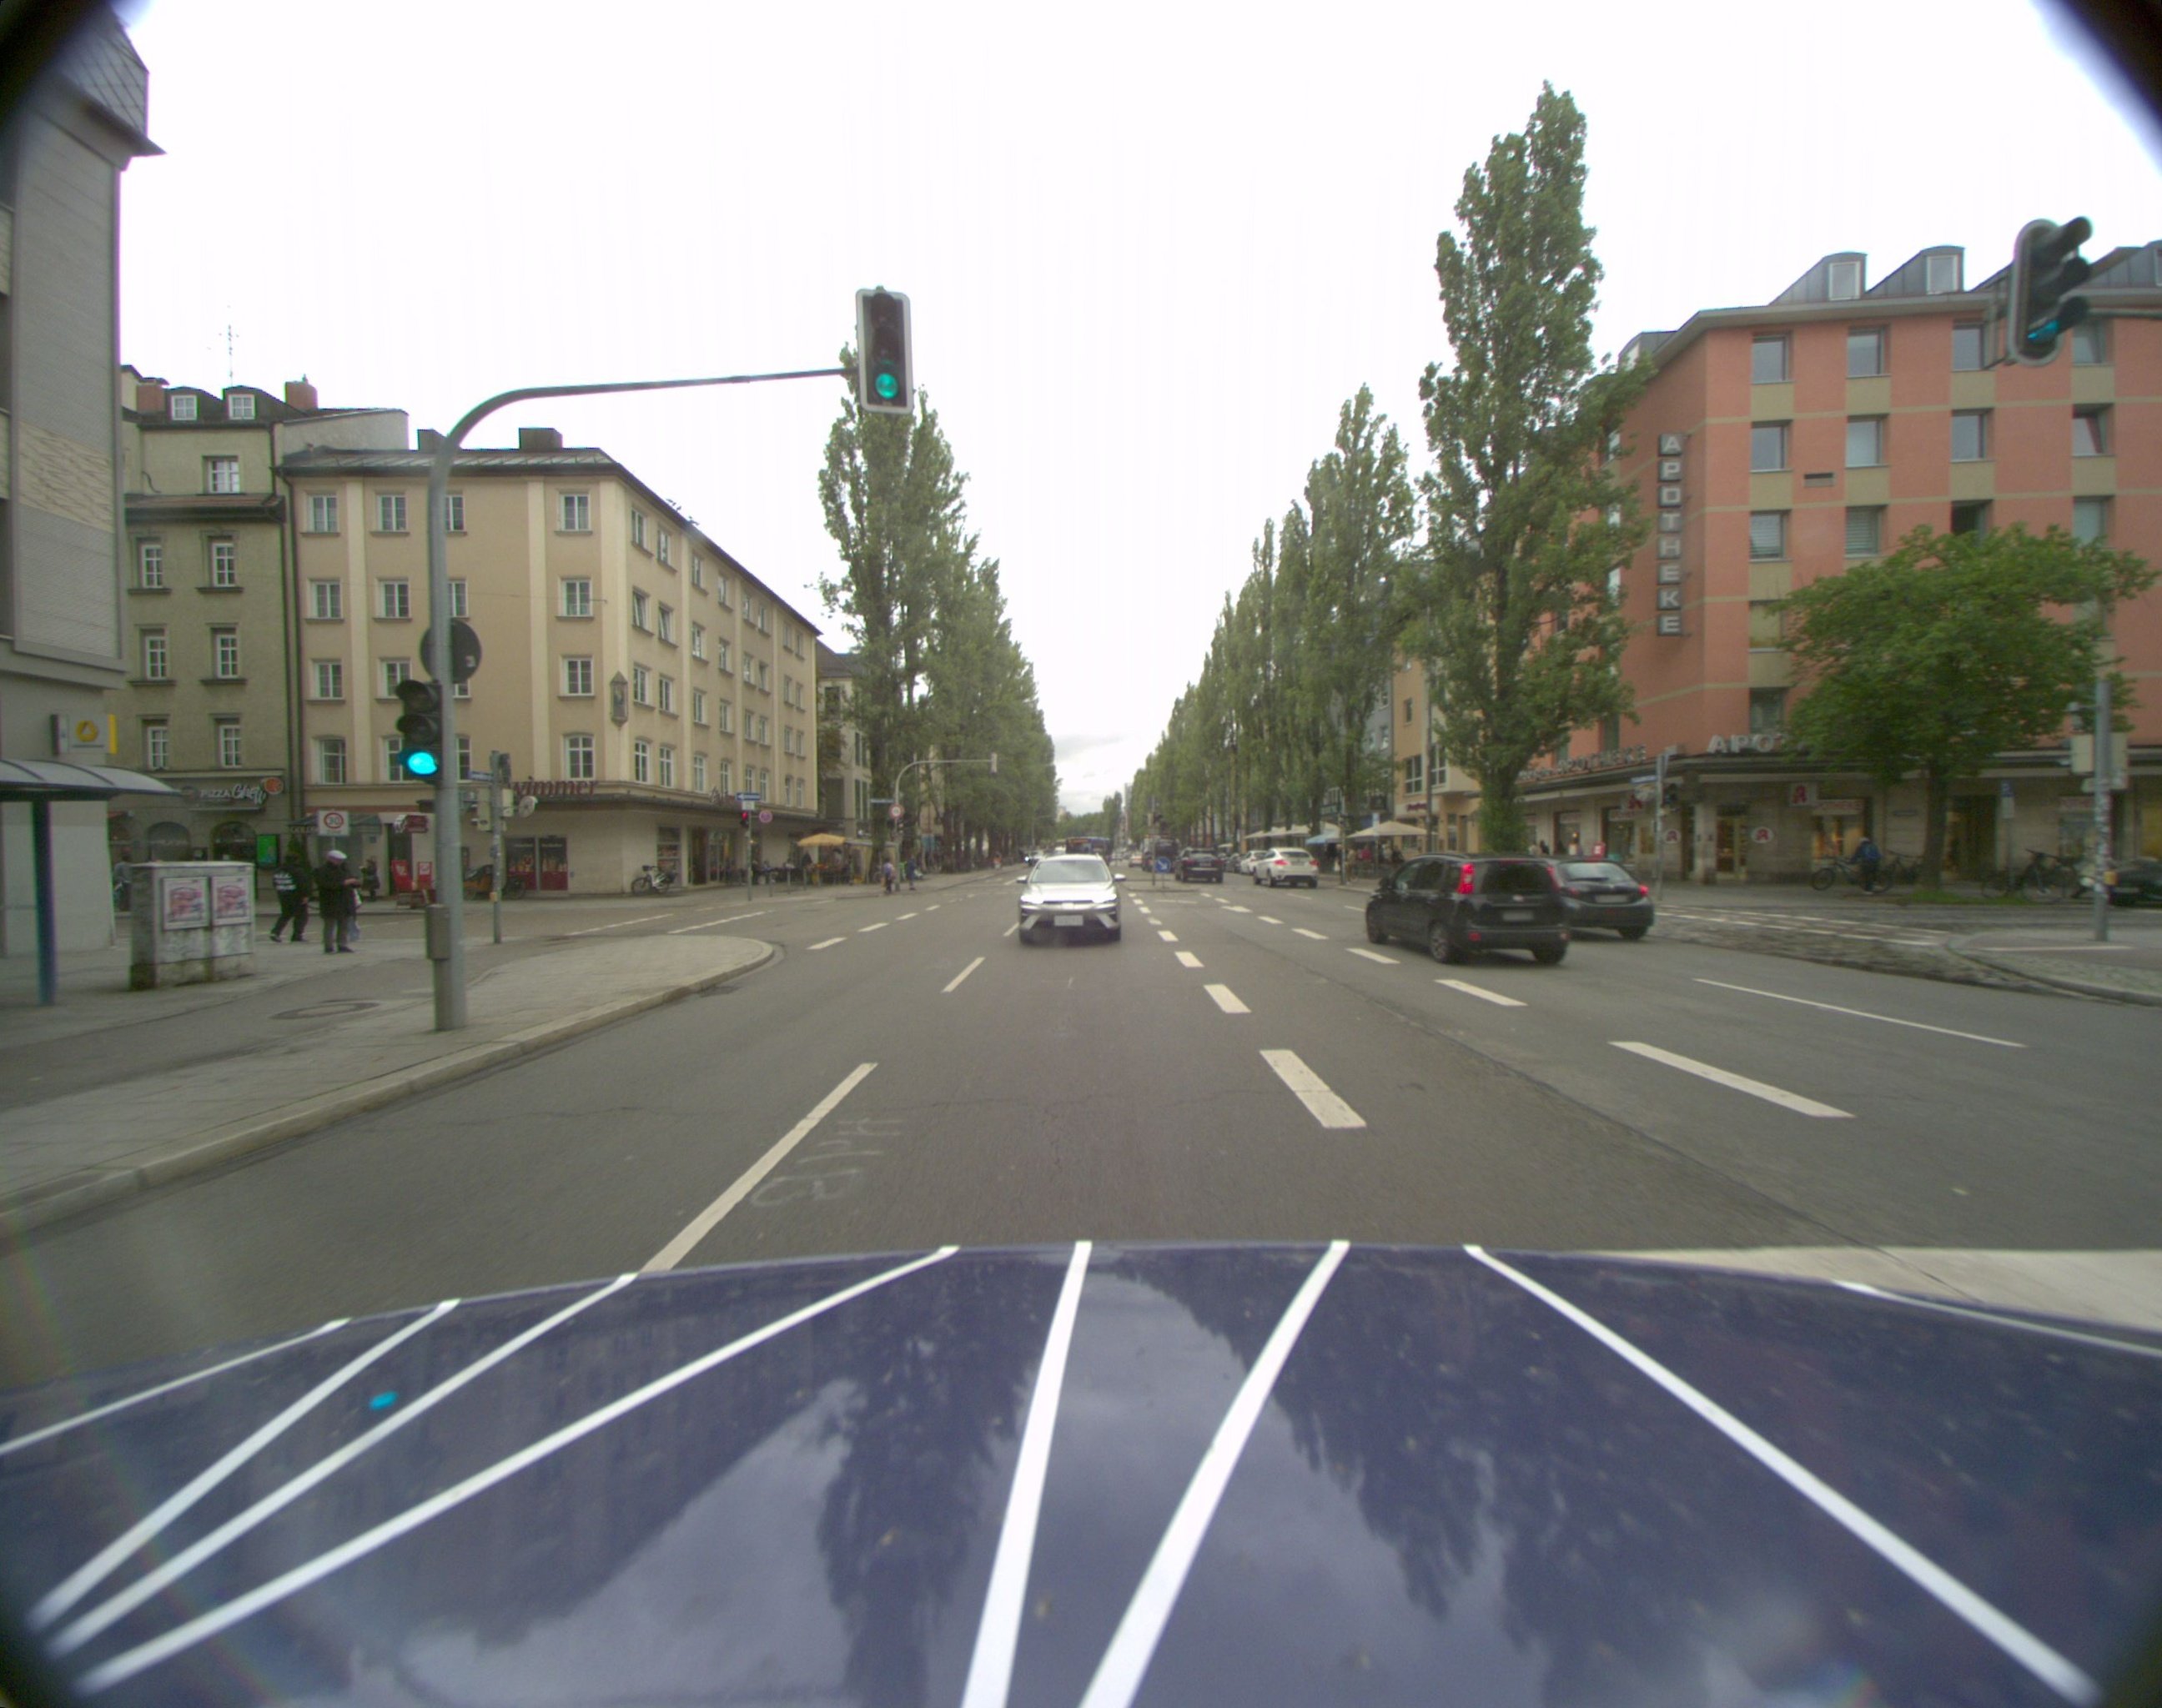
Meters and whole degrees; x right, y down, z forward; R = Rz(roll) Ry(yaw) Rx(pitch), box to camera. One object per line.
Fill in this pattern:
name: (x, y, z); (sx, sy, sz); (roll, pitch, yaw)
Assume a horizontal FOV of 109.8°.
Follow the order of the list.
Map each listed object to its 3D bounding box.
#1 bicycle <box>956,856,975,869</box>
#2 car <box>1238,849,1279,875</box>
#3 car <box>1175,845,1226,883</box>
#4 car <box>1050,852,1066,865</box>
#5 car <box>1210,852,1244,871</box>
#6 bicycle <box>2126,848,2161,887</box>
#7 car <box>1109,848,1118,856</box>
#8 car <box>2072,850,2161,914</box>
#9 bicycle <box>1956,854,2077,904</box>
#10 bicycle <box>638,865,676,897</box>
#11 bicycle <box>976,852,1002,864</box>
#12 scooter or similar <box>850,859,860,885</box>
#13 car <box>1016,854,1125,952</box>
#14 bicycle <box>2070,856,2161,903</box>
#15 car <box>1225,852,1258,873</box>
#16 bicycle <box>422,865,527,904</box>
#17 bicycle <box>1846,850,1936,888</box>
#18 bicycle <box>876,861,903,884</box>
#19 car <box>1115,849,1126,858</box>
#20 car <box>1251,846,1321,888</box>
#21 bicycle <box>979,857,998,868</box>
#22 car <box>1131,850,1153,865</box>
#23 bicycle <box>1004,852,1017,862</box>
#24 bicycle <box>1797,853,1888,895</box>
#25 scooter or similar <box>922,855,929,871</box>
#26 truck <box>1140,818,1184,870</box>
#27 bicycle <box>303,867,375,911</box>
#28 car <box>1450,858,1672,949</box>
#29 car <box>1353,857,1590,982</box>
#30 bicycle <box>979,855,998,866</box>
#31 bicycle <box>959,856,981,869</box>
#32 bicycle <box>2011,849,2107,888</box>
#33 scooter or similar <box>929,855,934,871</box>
bicycle: (-10.121, 0.755, 66.465); (1.666, 1.100, 0.396); (-1, 1, -11)
car: (11.524, 0.503, 49.482); (1.707, 1.574, 4.095); (0, 1, 0)
car: (5.802, 0.429, 37.309); (1.889, 1.736, 4.439); (-1, 1, 1)
car: (-2.792, 0.571, 93.480); (1.758, 1.529, 3.916); (-2, 0, 0)
car: (11.485, 0.550, 59.914); (1.707, 1.404, 4.432); (0, 1, -2)
bicycle: (34.259, 0.410, 23.766); (2.061, 1.177, 0.690); (-1, 1, 3)
car: (6.853, -0.428, 162.280); (1.848, 1.626, 4.575); (1, 0, 1)
car: (27.668, 0.621, 18.609); (3.994, 1.412, 1.782); (-2, 1, 9)
bicycle: (23.857, 0.606, 19.439); (0.416, 1.177, 2.062); (-1, 1, -6)
bicycle: (-16.478, 1.030, 29.577); (0.435, 1.164, 1.811); (-2, 1, -1)
bicycle: (-9.482, 0.386, 78.161); (2.577, 1.208, 0.965); (-1, 1, 0)
scooter or similar: (-11.051, 0.860, 37.184); (0.408, 1.236, 1.369); (-1, 1, -16)
car: (-0.180, 0.803, 14.464); (1.758, 1.529, 3.916); (-2, 1, 0)
bicycle: (28.130, 0.680, 20.452); (2.060, 1.177, 0.538); (-2, 1, 8)
car: (11.549, 0.591, 54.835); (1.497, 1.373, 4.186); (0, 1, 0)
bicycle: (-22.190, 1.111, 27.839); (2.978, 1.245, 0.999); (-2, 1, 0)
bicycle: (25.893, 0.464, 24.301); (2.061, 1.177, 0.690); (-1, 1, 3)
bicycle: (-9.759, 0.944, 38.802); (0.405, 1.064, 1.813); (-6, 0, 16)
car: (7.353, -0.113, 140.197); (1.848, 1.626, 4.575); (1, 0, 1)
car: (8.831, 0.509, 33.056); (1.842, 1.706, 4.635); (0, 1, 1)
bicycle: (-8.844, 0.810, 72.626); (1.842, 1.003, 0.393); (0, 1, 9)
car: (6.151, 0.365, 77.391); (1.848, 1.493, 4.985); (0, 0, 0)
bicycle: (-9.403, 0.405, 100.786); (0.829, 1.403, 2.594); (-2, 1, -26)
bicycle: (22.589, 0.592, 22.557); (2.060, 1.177, 0.416); (-2, 1, 8)
scooter or similar: (-12.709, 0.756, 62.184); (0.331, 1.266, 1.036); (-1, 1, 0)
truck: (6.034, -0.787, 57.828); (2.469, 3.649, 8.438); (-1, 1, 0)
bicycle: (-23.782, 1.111, 24.358); (1.832, 1.378, 0.481); (-1, 1, 2)
car: (8.836, 0.824, 14.447); (1.646, 1.431, 3.996); (0, 1, 0)
car: (5.489, 0.819, 11.249); (1.565, 1.487, 3.694); (0, 1, 0)
bicycle: (-9.711, 0.630, 79.506); (1.902, 1.120, 0.686); (-1, 1, 0)
bicycle: (-9.864, 0.752, 67.593); (1.871, 1.129, 0.339); (-1, 1, -8)
bicycle: (30.860, 0.442, 23.994); (2.061, 1.177, 0.690); (-1, 1, 3)
scooter or similar: (-12.239, 0.736, 62.203); (0.248, 1.266, 1.036); (-1, 1, 0)
